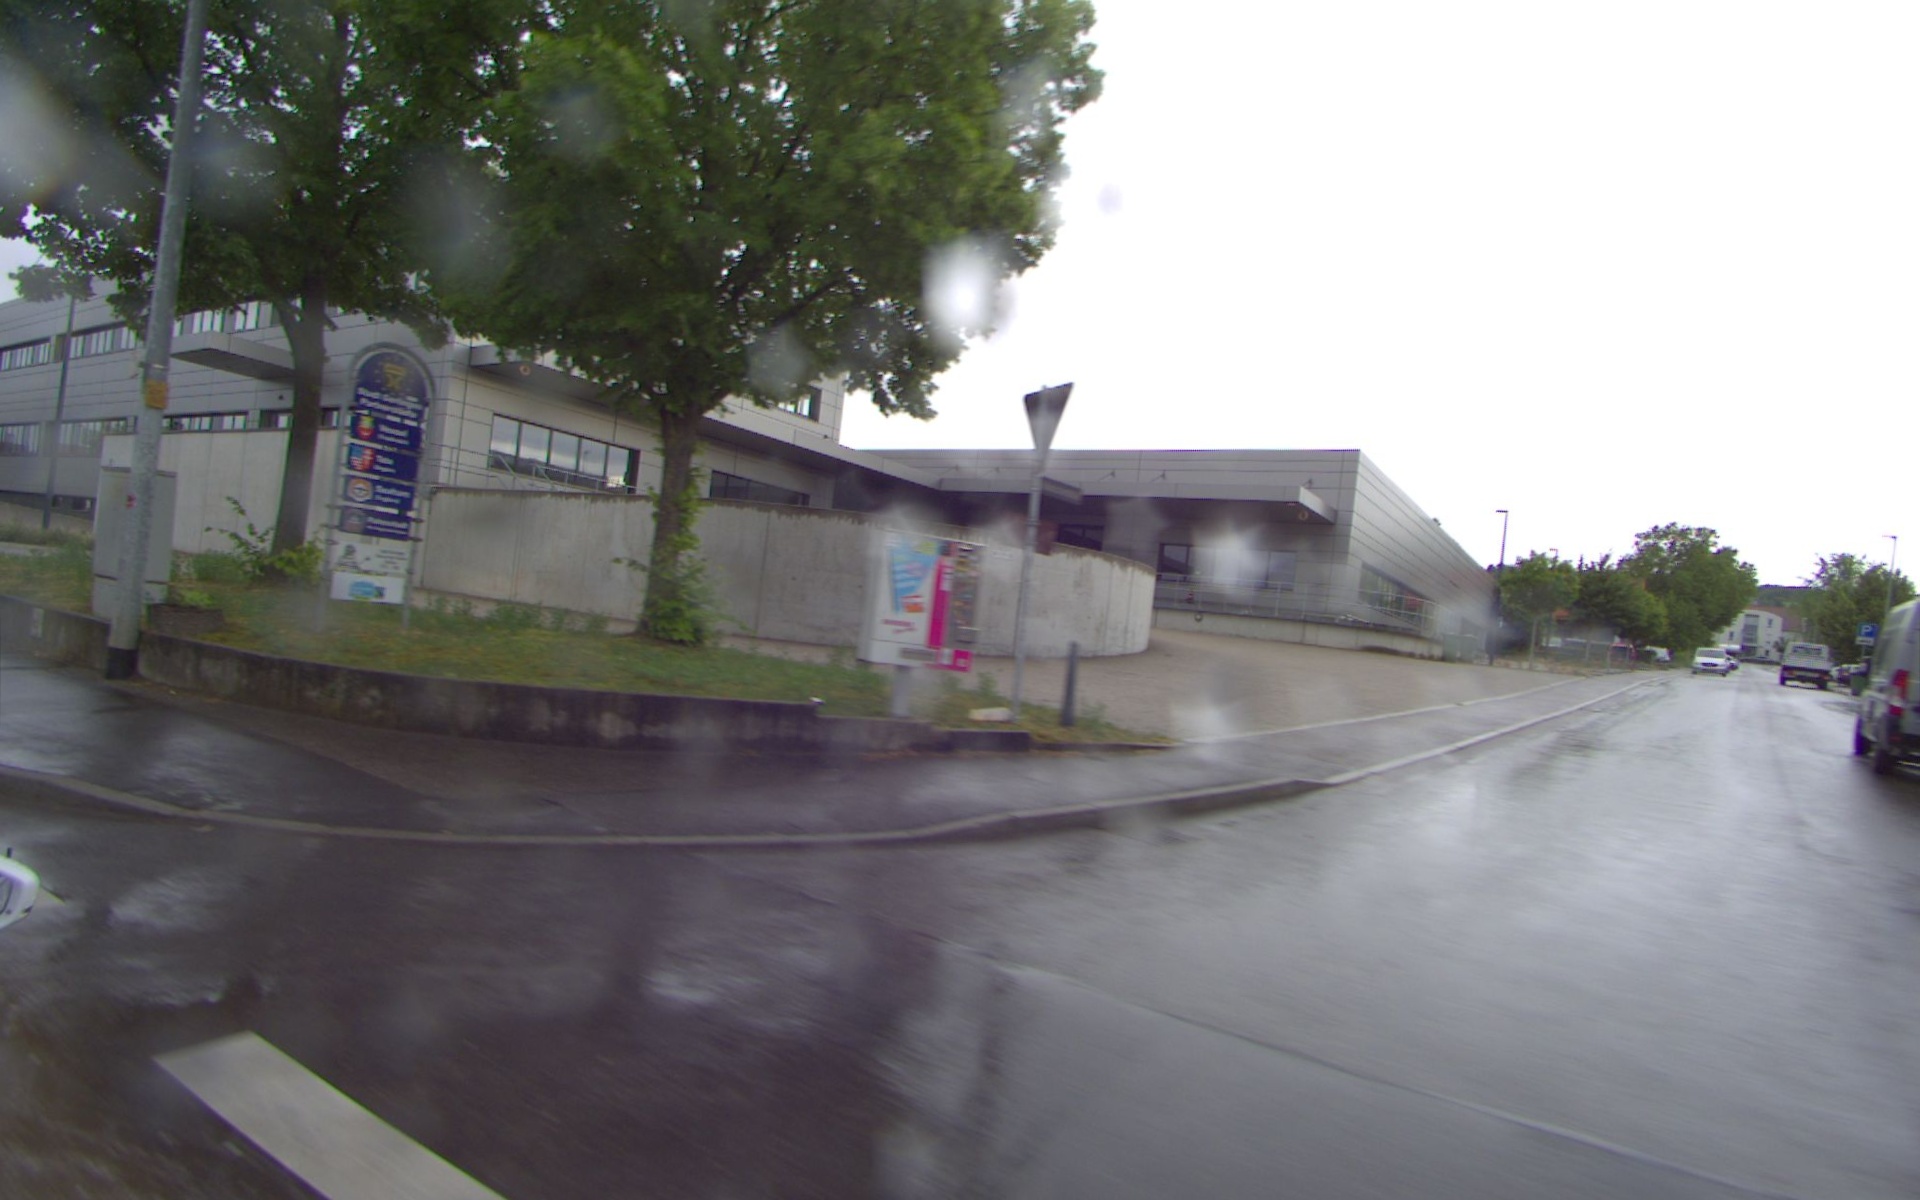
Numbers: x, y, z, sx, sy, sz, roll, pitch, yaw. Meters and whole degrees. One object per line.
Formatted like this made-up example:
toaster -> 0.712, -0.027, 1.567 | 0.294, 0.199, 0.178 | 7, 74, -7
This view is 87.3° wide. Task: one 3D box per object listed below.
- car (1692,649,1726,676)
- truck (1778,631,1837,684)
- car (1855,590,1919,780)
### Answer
car -> 51.162, 4.284, 68.789 | 1.613, 1.436, 3.991 | 7, -2, 36
truck -> 46.732, 3.230, 55.564 | 2.139, 2.265, 5.862 | 7, -2, 40
car -> 14.689, 1.259, 14.696 | 1.971, 2.471, 4.891 | 7, 3, 40
